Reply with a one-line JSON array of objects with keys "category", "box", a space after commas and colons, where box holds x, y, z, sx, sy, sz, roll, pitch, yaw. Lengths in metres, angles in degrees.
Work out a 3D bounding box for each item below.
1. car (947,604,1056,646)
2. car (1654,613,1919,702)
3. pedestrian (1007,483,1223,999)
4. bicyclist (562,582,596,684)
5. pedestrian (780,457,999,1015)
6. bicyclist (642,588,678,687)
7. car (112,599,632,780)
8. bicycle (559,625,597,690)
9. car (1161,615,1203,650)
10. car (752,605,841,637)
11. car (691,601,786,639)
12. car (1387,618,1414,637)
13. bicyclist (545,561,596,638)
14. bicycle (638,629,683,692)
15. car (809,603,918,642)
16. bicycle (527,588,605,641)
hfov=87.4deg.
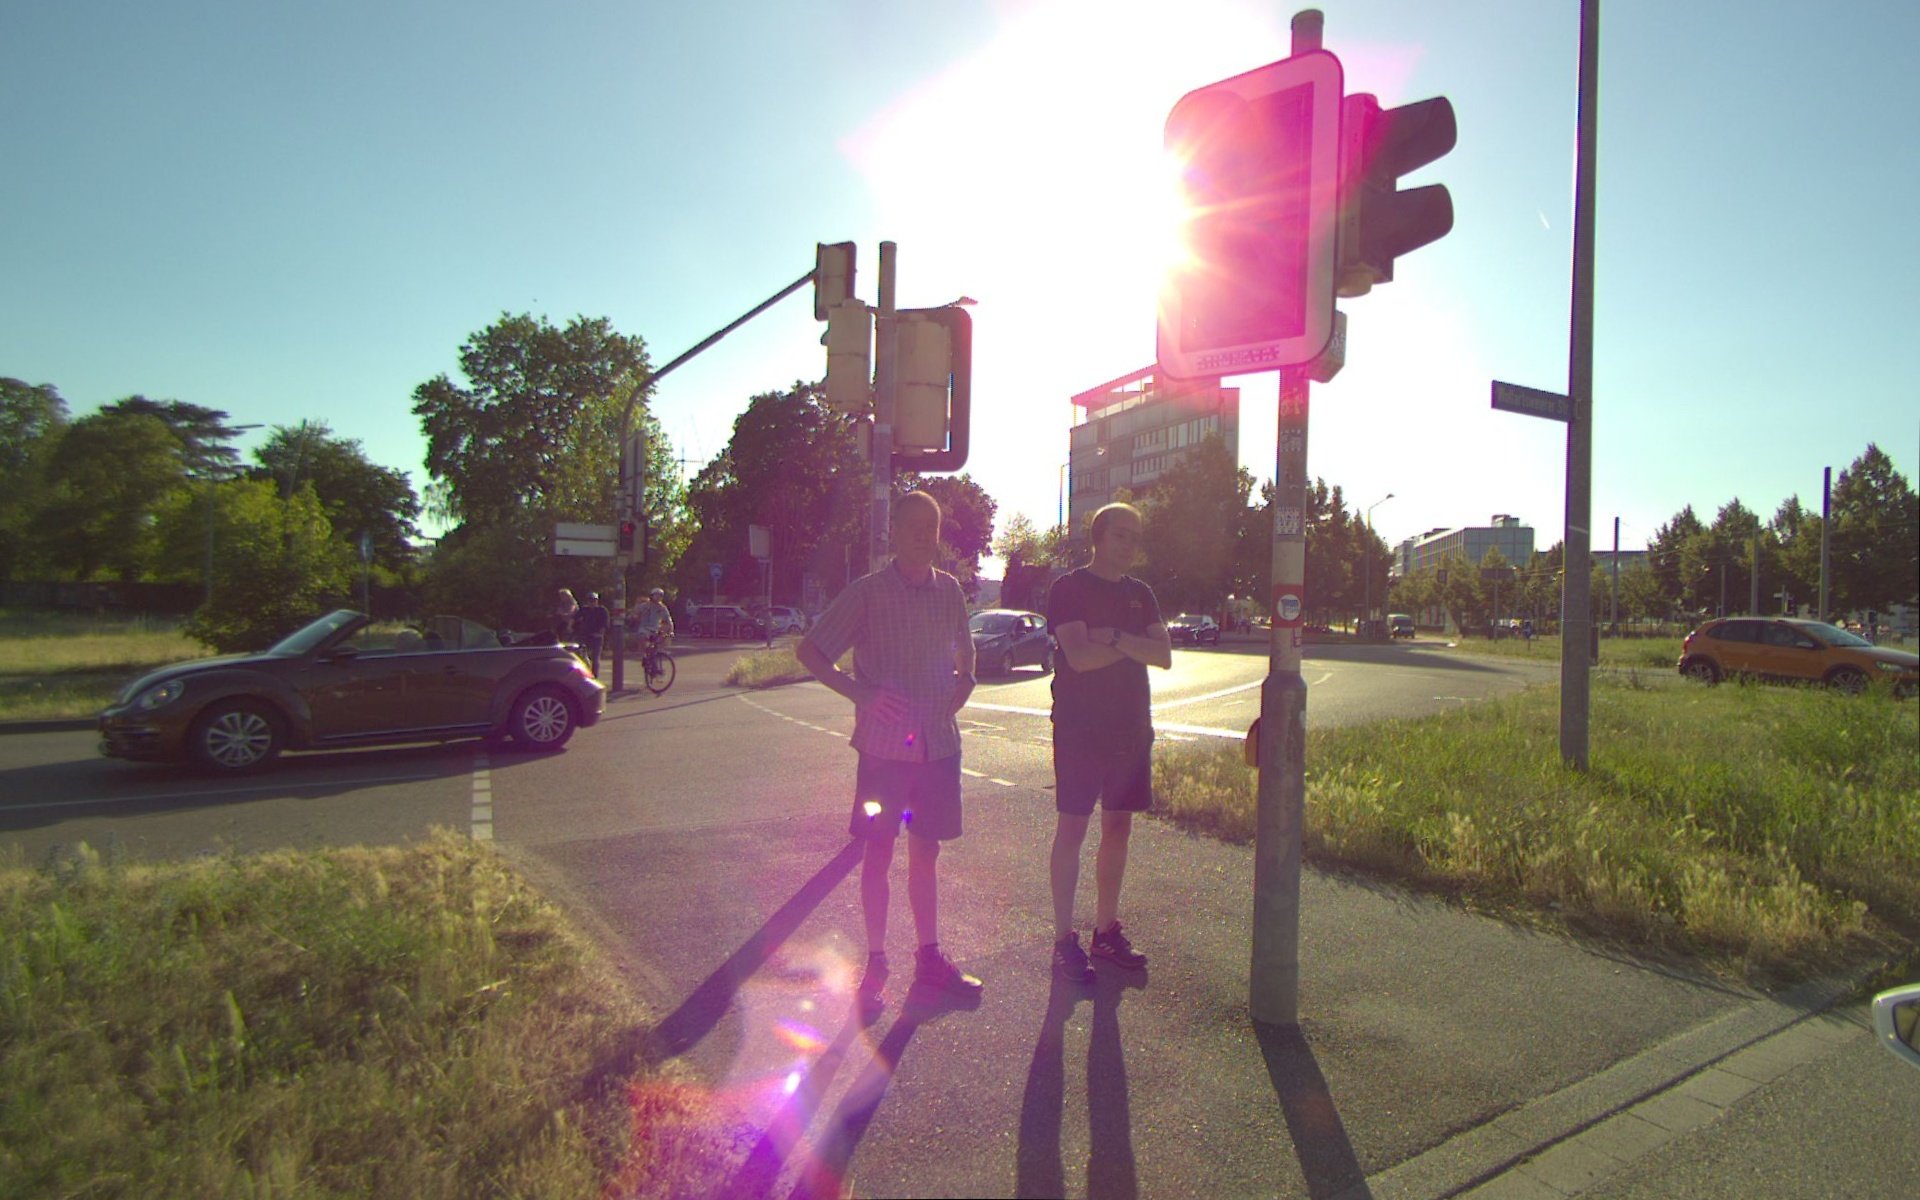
[{"category": "car", "box": [1.653, 0.969, 40.156, 3.904, 1.528, 1.845, 1, -1, 30]}, {"category": "car", "box": [15.947, 1.014, 19.159, 1.882, 1.464, 4.117, 1, -1, -22]}, {"category": "pedestrian", "box": [0.618, 0.519, 4.024, 0.664, 1.868, 0.483, 2, 0, -30]}, {"category": "bicyclist", "box": [-6.892, 0.584, 18.195, 0.488, 1.794, 0.812, 2, 1, -18]}, {"category": "pedestrian", "box": [-0.278, 0.458, 3.663, 0.707, 1.869, 0.486, 1, 2, -13]}, {"category": "bicyclist", "box": [-5.672, 0.704, 18.975, 0.489, 1.813, 0.810, 2, 1, -25]}, {"category": "car", "box": [-5.524, 0.743, 9.806, 4.121, 1.394, 1.651, 2, -2, -44]}, {"category": "bicycle", "box": [-6.964, 1.023, 18.366, 0.496, 1.033, 1.907, 2, 0, -17]}, {"category": "car", "box": [10.190, 1.465, 45.964, 1.479, 1.473, 3.463, 1, -1, 19]}, {"category": "car", "box": [-8.442, 1.080, 52.073, 4.221, 1.528, 1.876, 1, 0, 4]}, {"category": "car", "box": [-9.835, 0.880, 44.655, 3.634, 1.528, 1.876, 1, 0, 14]}, {"category": "car", "box": [47.445, 2.950, 108.238, 1.959, 2.040, 4.002, 1, -1, 13]}, {"category": "bicyclist", "box": [-8.747, -0.017, 22.603, 0.696, 1.688, 0.831, 1, 0, 11]}, {"category": "bicycle", "box": [-5.651, 1.110, 18.905, 0.498, 1.033, 1.902, 2, 1, -26]}, {"category": "car", "box": [-4.097, 0.964, 42.916, 4.221, 1.528, 1.876, 1, 0, 14]}, {"category": "bicycle", "box": [-8.781, 0.328, 22.466, 0.711, 1.133, 1.824, 2, -1, 11]}]
